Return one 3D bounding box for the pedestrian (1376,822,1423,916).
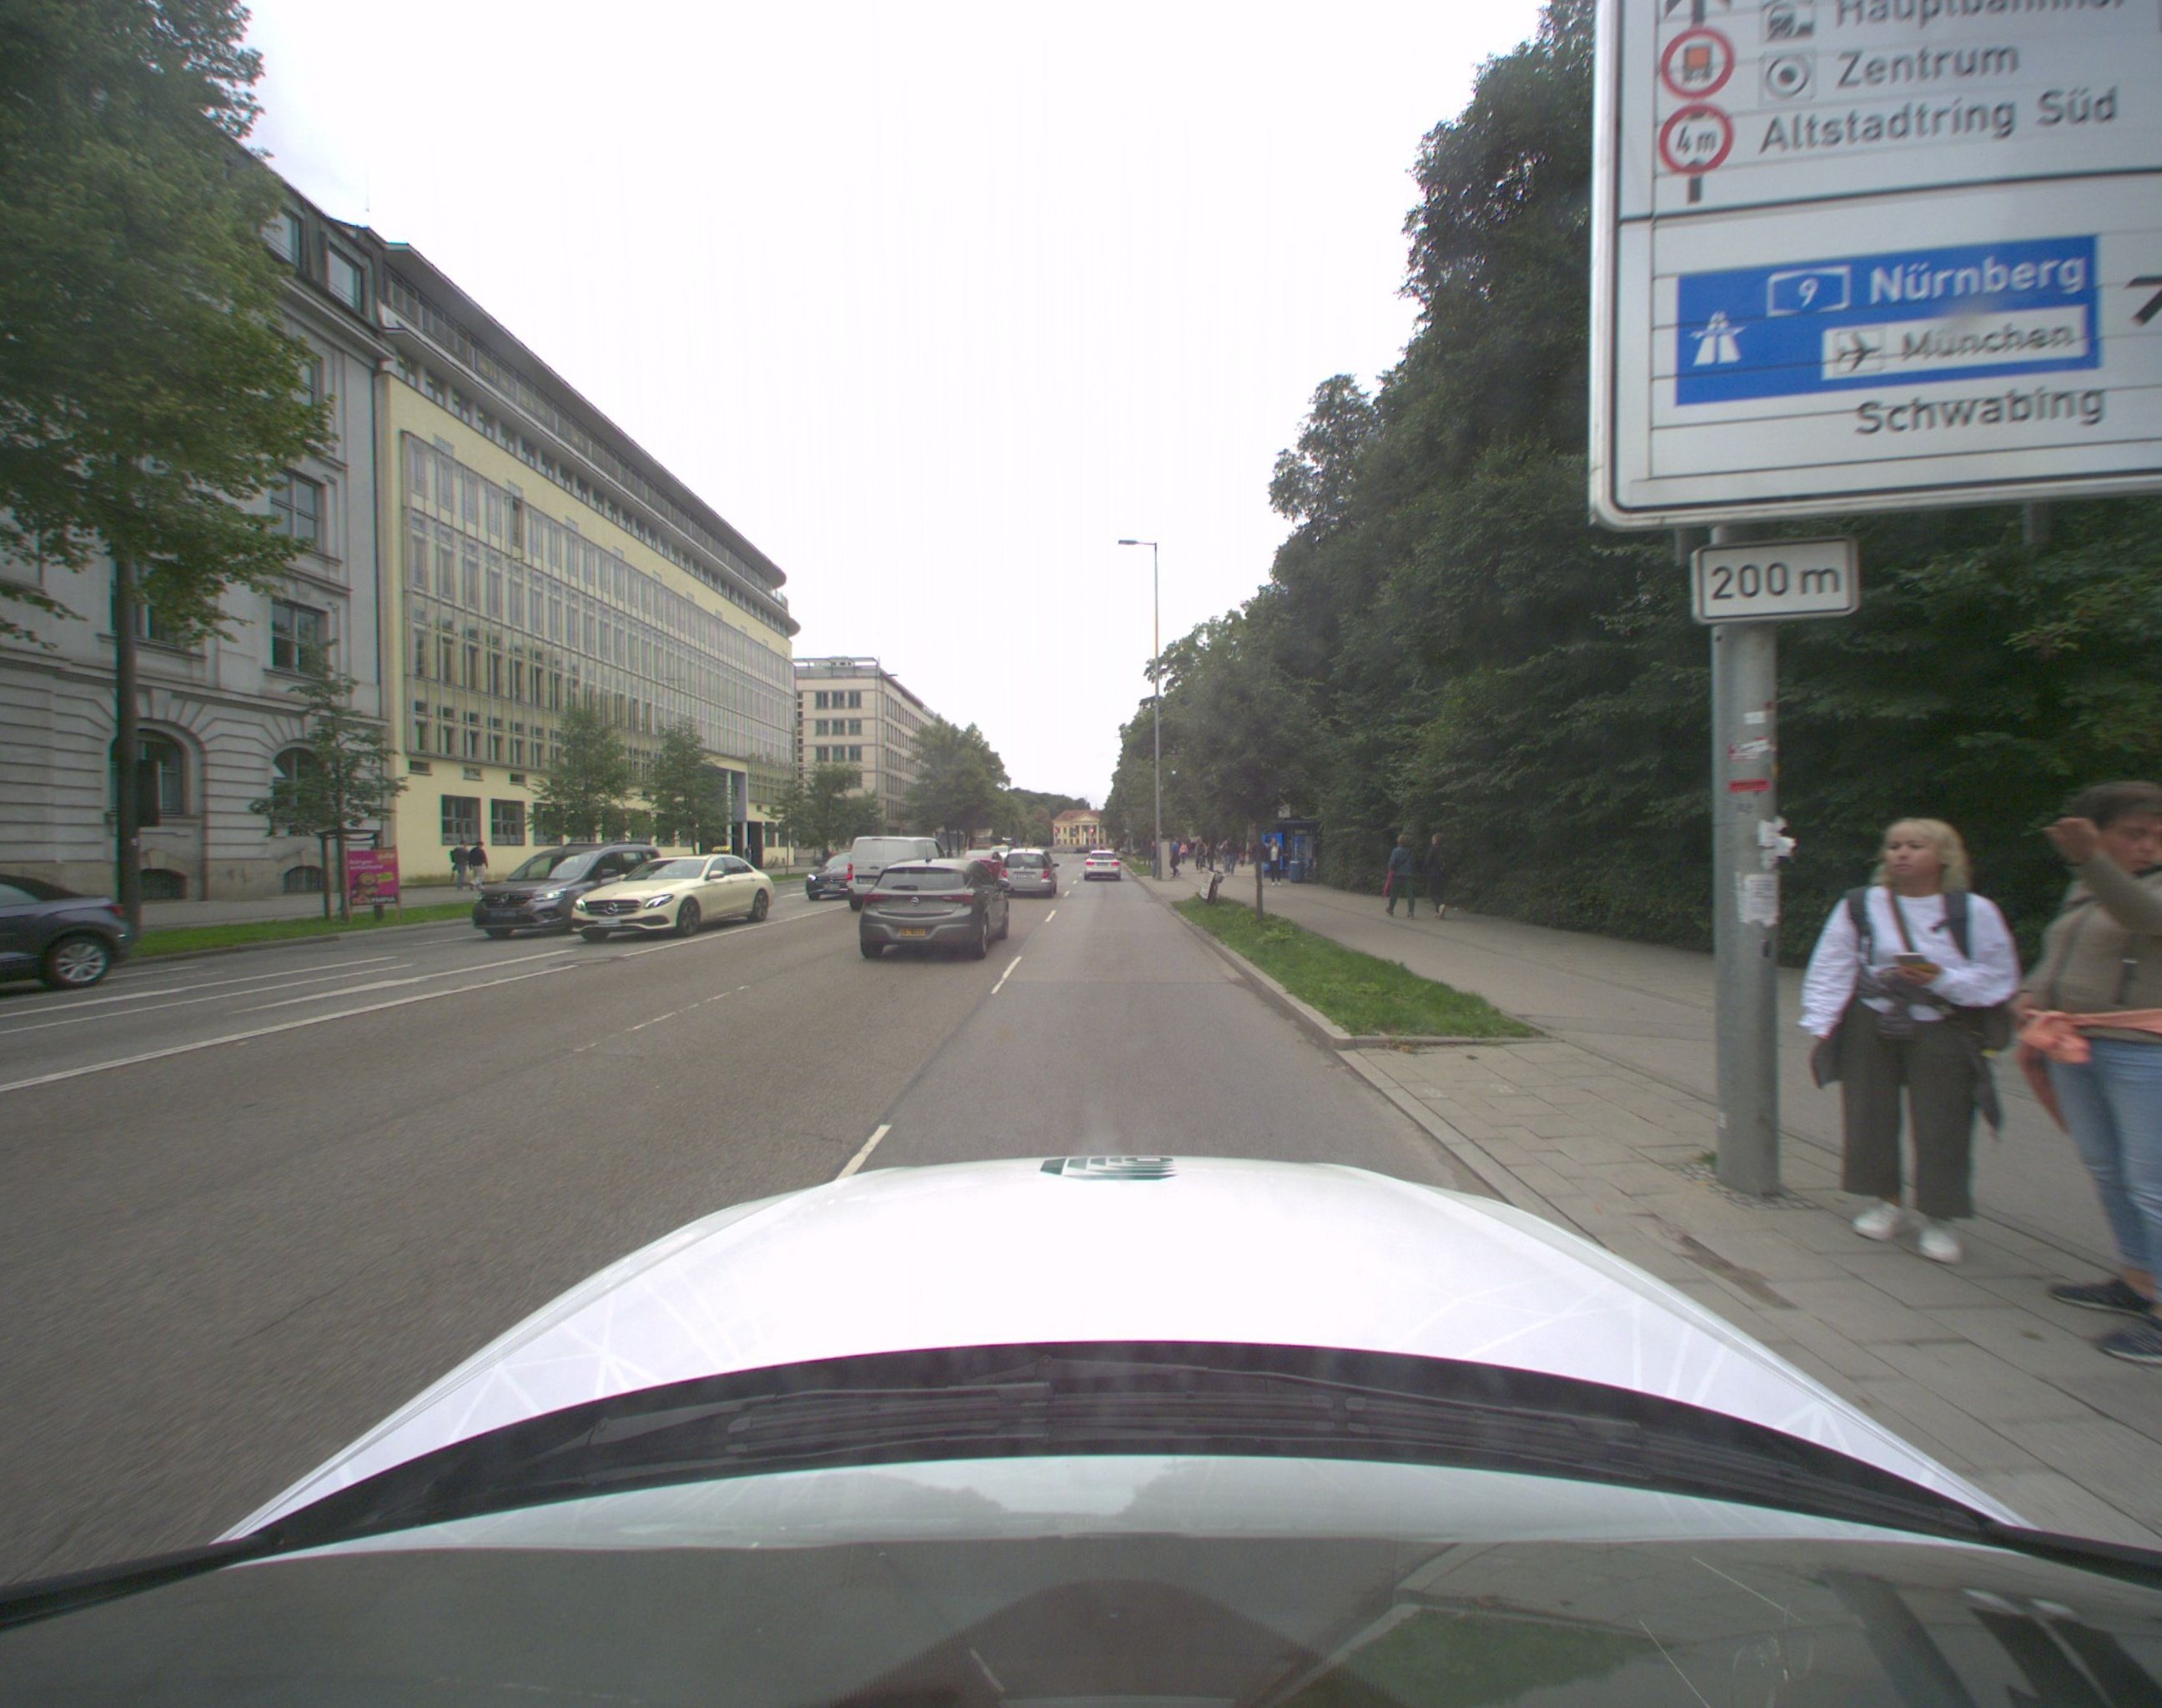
[{"bbox_3d":[6.319,0.288,16.176,0.668,1.839,0.641,1,1,2],"label":"pedestrian"}]

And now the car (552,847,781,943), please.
[{"bbox_3d":[-7.647,0.650,15.690,1.821,1.542,4.824,-1,0,1],"label":"car"}]

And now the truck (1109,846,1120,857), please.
[{"bbox_3d":[10.556,-0.900,256.374,3.313,3.366,8.666,1,1,2],"label":"truck"}]

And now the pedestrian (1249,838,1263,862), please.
[{"bbox_3d":[12.376,-0.271,57.659,0.808,1.690,0.729,-2,0,4],"label":"pedestrian"}]

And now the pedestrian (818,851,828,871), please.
[{"bbox_3d":[-23.900,0.625,75.361,0.679,1.775,0.675,1,1,5],"label":"pedestrian"}]

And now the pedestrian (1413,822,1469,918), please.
[{"bbox_3d":[7.055,0.298,15.991,0.748,1.839,0.757,1,1,2],"label":"pedestrian"}]

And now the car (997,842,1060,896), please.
[{"bbox_3d":[-1.689,0.442,27.339,1.773,1.654,4.001,1,1,1],"label":"car"}]

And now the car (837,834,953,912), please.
[{"bbox_3d":[-4.873,0.437,22.077,1.892,1.847,4.957,-1,1,1],"label":"car"}]

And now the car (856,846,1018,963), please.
[{"bbox_3d":[-2.115,0.659,13.054,1.703,1.552,4.003,1,1,2],"label":"car"}]

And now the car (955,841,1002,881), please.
[{"bbox_3d":[-4.424,0.266,35.660,1.775,1.654,3.995,1,1,-4],"label":"car"}]

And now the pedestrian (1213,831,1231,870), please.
[{"bbox_3d":[6.619,-0.187,38.257,0.705,1.808,0.639,1,1,1],"label":"pedestrian"}]

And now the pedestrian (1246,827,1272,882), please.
[{"bbox_3d":[6.279,0.007,28.785,0.705,1.915,0.957,1,1,1],"label":"pedestrian"}]

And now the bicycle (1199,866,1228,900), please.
[{"bbox_3d":[3.482,0.754,21.481,0.491,0.794,1.890,1,1,2],"label":"bicycle"}]

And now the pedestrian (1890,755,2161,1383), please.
[{"bbox_3d":[3.219,0.595,2.624,0.608,1.760,0.634,-1,1,-6],"label":"pedestrian"}]

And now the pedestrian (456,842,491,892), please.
[{"bbox_3d":[-21.950,0.451,29.429,0.613,1.776,0.836,1,1,1],"label":"pedestrian"}]

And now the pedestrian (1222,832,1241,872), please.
[{"bbox_3d":[6.879,-0.101,37.230,0.705,1.808,0.950,1,1,1],"label":"pedestrian"}]

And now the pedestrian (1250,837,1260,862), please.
[{"bbox_3d":[11.551,-0.306,54.050,0.589,1.690,0.729,1,1,4],"label":"pedestrian"}]

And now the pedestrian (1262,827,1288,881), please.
[{"bbox_3d":[6.959,0.002,29.286,0.705,1.915,0.957,1,1,1],"label":"pedestrian"}]

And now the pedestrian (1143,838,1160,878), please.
[{"bbox_3d":[3.210,0.173,36.936,0.705,1.808,0.639,1,1,1],"label":"pedestrian"}]

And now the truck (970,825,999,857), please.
[{"bbox_3d":[-11.859,-1.560,100.397,2.909,3.774,7.659,1,1,-3],"label":"truck"}]

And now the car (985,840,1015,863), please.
[{"bbox_3d":[-6.607,-0.211,66.918,1.850,1.748,4.632,-2,1,2],"label":"car"}]

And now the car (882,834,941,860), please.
[{"bbox_3d":[-17.522,-0.741,84.638,5.667,2.536,2.154,-1,1,-3],"label":"car"}]

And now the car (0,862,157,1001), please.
[{"bbox_3d":[-13.485,0.938,9.044,1.728,1.576,4.058,-1,1,2],"label":"car"}]

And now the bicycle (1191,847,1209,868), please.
[{"bbox_3d":[6.082,0.159,41.592,0.672,1.030,2.013,1,1,1],"label":"bicycle"}]

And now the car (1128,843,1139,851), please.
[{"bbox_3d":[9.422,-1.271,146.030,1.718,1.464,4.778,-1,1,2],"label":"car"}]

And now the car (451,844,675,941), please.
[{"bbox_3d":[-10.485,0.678,16.952,1.821,1.750,4.261,-1,0,1],"label":"car"}]

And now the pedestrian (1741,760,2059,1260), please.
[{"bbox_3d":[3.164,0.544,3.203,0.623,1.760,0.635,-1,1,-3],"label":"pedestrian"}]

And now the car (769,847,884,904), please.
[{"bbox_3d":[-7.489,0.574,24.518,1.760,1.423,4.749,-2,1,2],"label":"car"}]

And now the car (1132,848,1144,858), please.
[{"bbox_3d":[9.361,-0.135,133.876,1.820,1.549,4.754,-1,1,2],"label":"car"}]

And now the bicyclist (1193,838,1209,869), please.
[{"bbox_3d":[6.123,-0.023,41.673,0.705,1.561,0.639,1,1,1],"label":"bicyclist"}]

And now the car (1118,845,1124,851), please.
[{"bbox_3d":[10.783,-1.624,218.877,1.718,1.323,4.030,-1,2,2],"label":"car"}]

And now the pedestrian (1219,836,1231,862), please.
[{"bbox_3d":[9.531,-0.341,53.957,0.722,1.690,0.649,1,1,6],"label":"pedestrian"}]

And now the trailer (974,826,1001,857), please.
[{"bbox_3d":[-12.246,-1.654,107.654,2.943,3.740,11.756,1,1,-3],"label":"trailer"}]

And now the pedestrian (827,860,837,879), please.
[{"bbox_3d":[-23.004,1.408,75.210,0.679,1.775,0.785,1,1,5],"label":"pedestrian"}]

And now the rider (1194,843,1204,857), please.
[{"bbox_3d":[9.314,-0.321,64.323,0.761,1.112,1.246,1,1,6],"label":"rider"}]

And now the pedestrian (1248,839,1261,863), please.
[{"bbox_3d":[12.505,-0.234,58.642,0.808,1.690,0.729,1,1,4],"label":"pedestrian"}]

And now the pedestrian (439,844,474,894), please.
[{"bbox_3d":[-22.582,0.513,29.447,0.613,1.776,0.836,1,1,1],"label":"pedestrian"}]

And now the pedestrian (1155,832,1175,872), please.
[{"bbox_3d":[4.034,-0.104,39.094,0.795,1.880,0.547,1,1,37],"label":"pedestrian"}]

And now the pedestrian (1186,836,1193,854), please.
[{"bbox_3d":[11.260,-0.899,84.433,0.585,1.822,0.850,1,1,2],"label":"pedestrian"}]

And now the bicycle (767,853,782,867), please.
[{"bbox_3d":[-23.230,0.464,61.663,0.571,1.013,1.592,1,1,-2],"label":"bicycle"}]

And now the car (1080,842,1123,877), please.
[{"bbox_3d":[0.985,0.226,40.493,1.775,1.644,3.995,1,1,-4],"label":"car"}]
